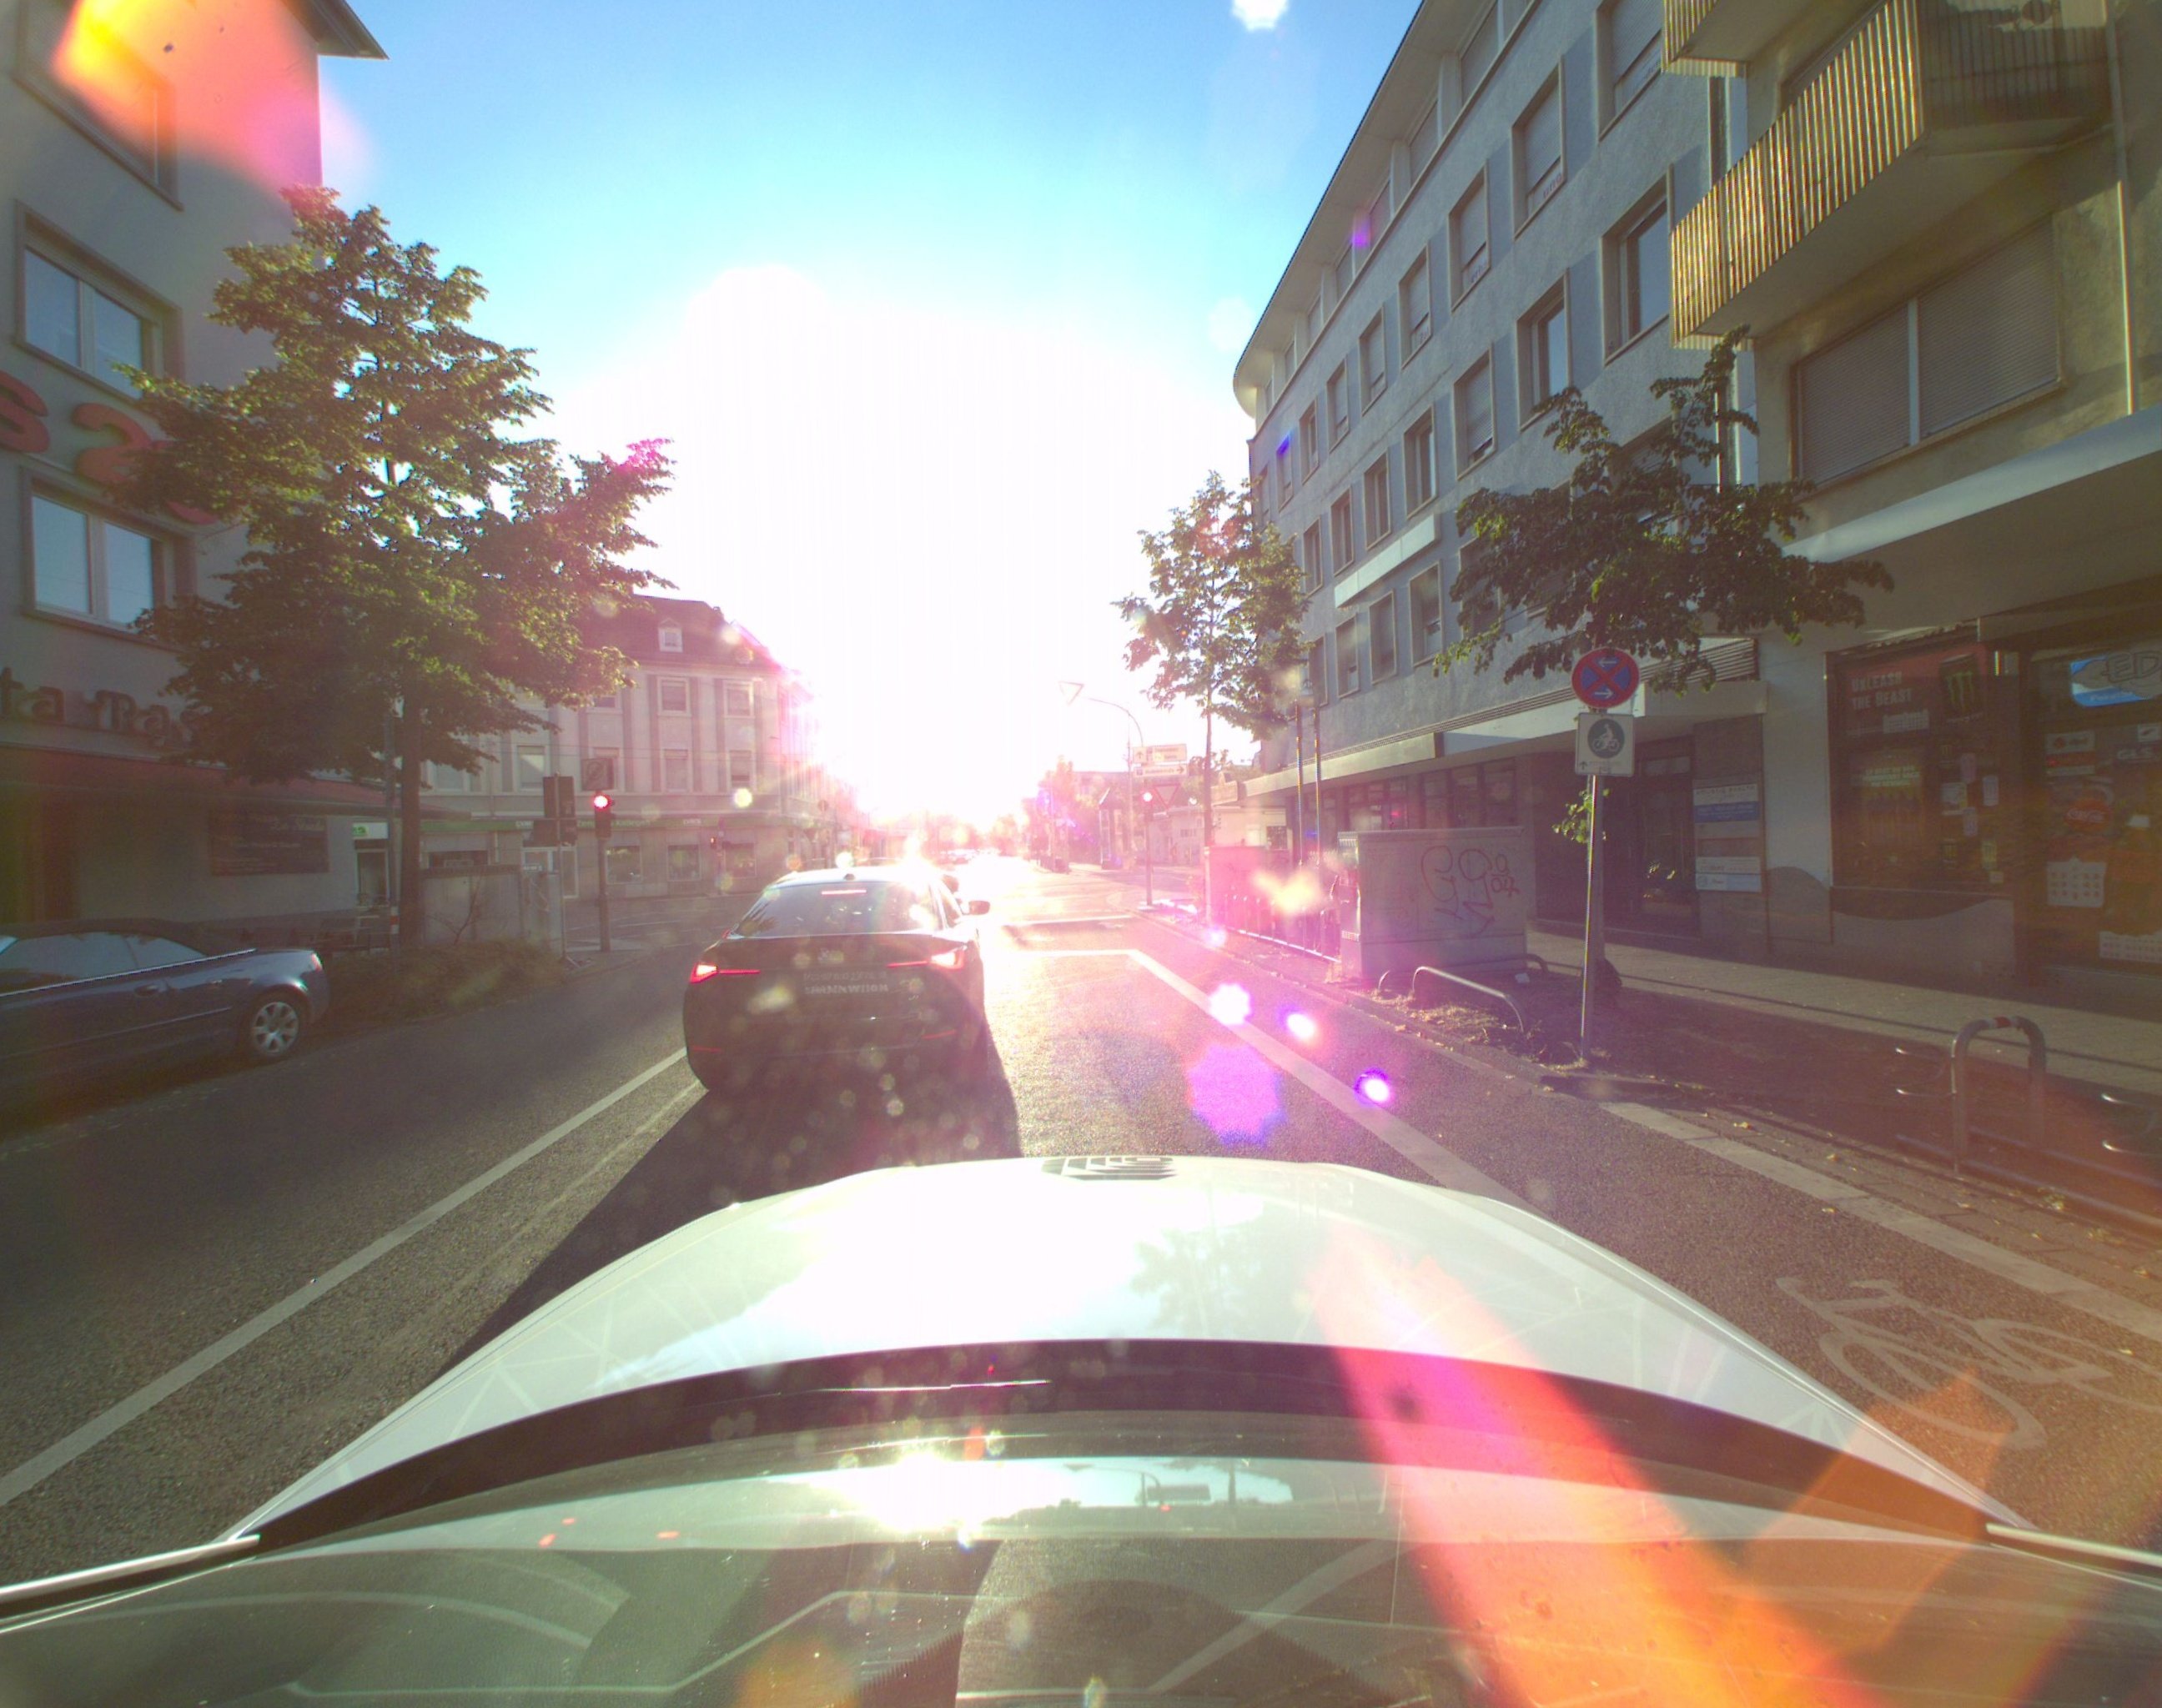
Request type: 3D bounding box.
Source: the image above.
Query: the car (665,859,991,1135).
[{"bbox_3d":[-1.651,0.788,6.641,1.735,1.428,4.213,-1,0,-7],"label":"car"}]

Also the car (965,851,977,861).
[{"bbox_3d":[-17.982,0.369,133.498,1.816,1.519,3.992,-2,0,-6],"label":"car"}]

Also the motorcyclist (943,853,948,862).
[{"bbox_3d":[-15.656,0.386,94.220,0.574,0.995,0.701,0,0,-6],"label":"motorcyclist"}]

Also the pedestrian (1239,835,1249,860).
[{"bbox_3d":[11.176,-0.443,55.845,0.445,1.734,0.429,0,0,-31],"label":"pedestrian"}]

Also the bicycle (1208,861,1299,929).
[{"bbox_3d":[3.220,0.754,15.200,1.610,1.171,0.318,-2,0,-5],"label":"bicycle"}]

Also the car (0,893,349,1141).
[{"bbox_3d":[-7.647,1.134,5.543,1.721,1.415,4.270,-4,0,-7],"label":"car"}]

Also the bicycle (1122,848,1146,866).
[{"bbox_3d":[3.562,0.202,55.030,0.553,1.159,2.125,-1,0,-27],"label":"bicycle"}]

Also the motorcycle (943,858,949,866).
[{"bbox_3d":[-15.666,0.917,94.319,0.574,0.915,2.196,0,0,-6],"label":"motorcycle"}]

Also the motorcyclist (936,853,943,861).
[{"bbox_3d":[-16.474,0.391,94.752,0.574,0.915,2.196,0,0,-6],"label":"motorcyclist"}]

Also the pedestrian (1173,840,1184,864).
[{"bbox_3d":[6.472,-0.141,53.948,0.729,1.529,0.473,0,0,5],"label":"pedestrian"}]

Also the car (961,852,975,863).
[{"bbox_3d":[-15.731,0.488,113.610,1.816,1.519,3.992,-2,0,-6],"label":"car"}]

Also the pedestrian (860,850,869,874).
[{"bbox_3d":[-17.109,0.613,64.330,0.642,1.876,0.630,0,0,-7],"label":"pedestrian"}]

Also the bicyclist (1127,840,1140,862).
[{"bbox_3d":[3.568,-0.229,55.002,0.553,1.481,0.716,-1,-1,-28],"label":"bicyclist"}]

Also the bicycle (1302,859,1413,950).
[{"bbox_3d":[3.836,0.690,11.325,1.438,1.220,0.383,0,0,-5],"label":"bicycle"}]

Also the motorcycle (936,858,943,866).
[{"bbox_3d":[-16.477,0.922,94.729,0.574,0.915,2.196,0,0,-6],"label":"motorcycle"}]

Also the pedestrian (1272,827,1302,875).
[{"bbox_3d":[8.068,-0.125,31.860,0.680,1.841,0.830,-3,0,-28],"label":"pedestrian"}]

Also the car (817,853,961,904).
[{"bbox_3d":[-6.552,0.790,27.916,4.436,1.473,1.799,-2,1,-32],"label":"car"}]

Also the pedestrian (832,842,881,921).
[{"bbox_3d":[-5.591,0.669,20.267,1.006,1.860,0.634,-3,1,-27],"label":"pedestrian"}]

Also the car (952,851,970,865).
[{"bbox_3d":[-13.968,0.464,95.051,1.816,1.519,3.992,-2,0,-6],"label":"car"}]

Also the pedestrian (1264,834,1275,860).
[{"bbox_3d":[12.744,-0.453,55.150,0.481,1.734,0.526,0,0,-31],"label":"pedestrian"}]

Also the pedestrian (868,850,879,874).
[{"bbox_3d":[-16.453,0.608,64.560,0.671,1.876,0.620,0,0,14],"label":"pedestrian"}]

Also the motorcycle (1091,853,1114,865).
[{"bbox_3d":[1.812,0.383,68.006,1.673,0.939,0.851,-2,0,-18],"label":"motorcycle"}]

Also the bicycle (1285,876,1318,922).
[{"bbox_3d":[4.162,0.837,15.433,0.249,0.796,1.114,0,0,-4],"label":"bicycle"}]
